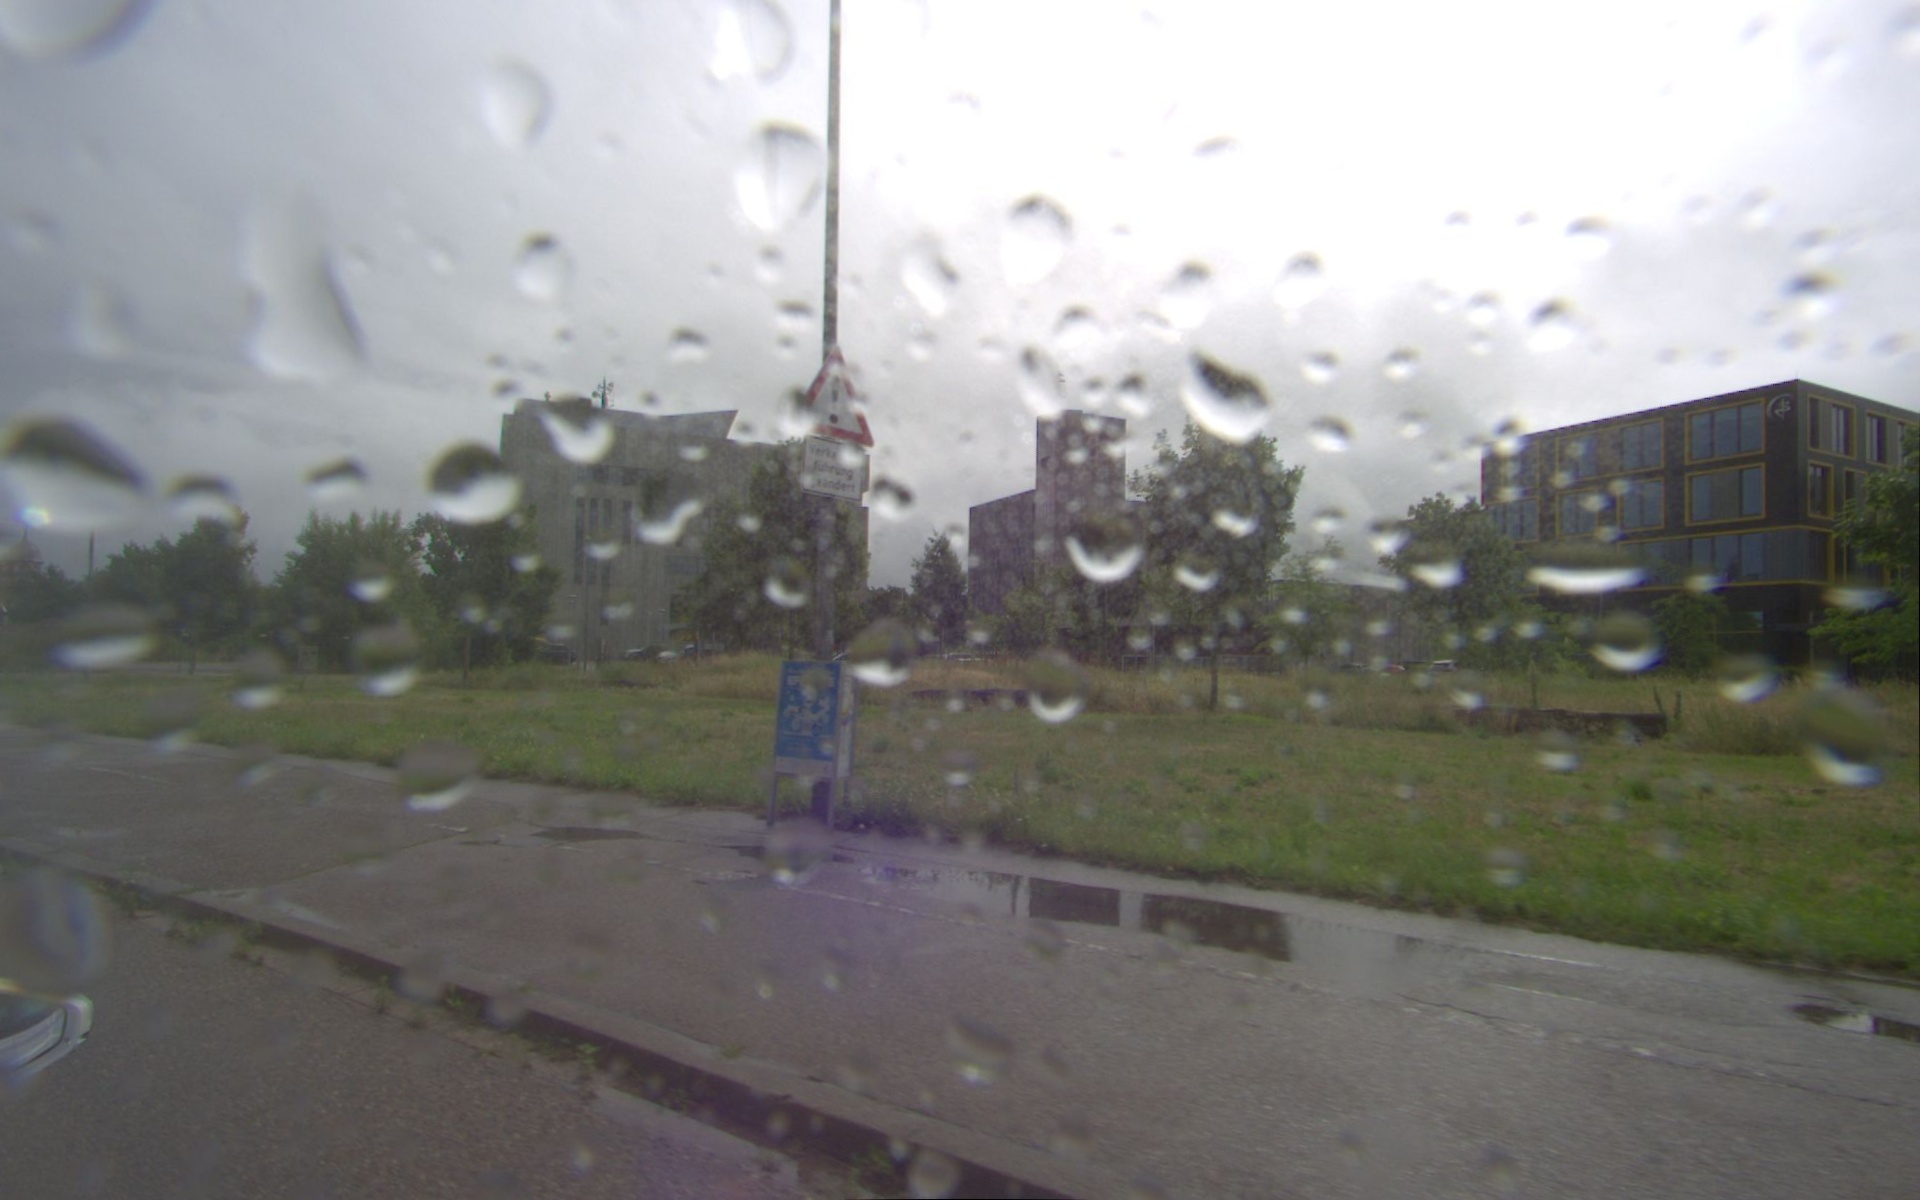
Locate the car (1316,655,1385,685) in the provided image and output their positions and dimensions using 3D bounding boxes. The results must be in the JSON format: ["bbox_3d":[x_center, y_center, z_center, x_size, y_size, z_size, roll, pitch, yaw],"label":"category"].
[{"bbox_3d":[24.192,4.351,62.004,3.938,1.794,1.802,2,-3,-25],"label":"car"}]

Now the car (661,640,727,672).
[{"bbox_3d":[-19.367,4.057,72.843,4.319,1.980,1.995,6,-4,-22],"label":"car"}]

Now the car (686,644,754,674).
[{"bbox_3d":[-16.349,4.037,68.218,4.105,1.741,1.815,6,-4,-23],"label":"car"}]

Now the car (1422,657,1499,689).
[{"bbox_3d":[28.333,4.118,56.655,3.936,1.742,1.764,2,-3,-23],"label":"car"}]

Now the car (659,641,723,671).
[{"bbox_3d":[-20.304,4.234,75.563,4.319,1.994,1.995,6,-4,-22],"label":"car"}]

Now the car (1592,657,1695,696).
[{"bbox_3d":[32.764,3.673,48.003,4.484,1.783,1.994,2,-3,-23],"label":"car"}]

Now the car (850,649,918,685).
[{"bbox_3d":[-4.488,3.968,58.885,3.644,2.038,1.998,2,-3,-16],"label":"car"}]
